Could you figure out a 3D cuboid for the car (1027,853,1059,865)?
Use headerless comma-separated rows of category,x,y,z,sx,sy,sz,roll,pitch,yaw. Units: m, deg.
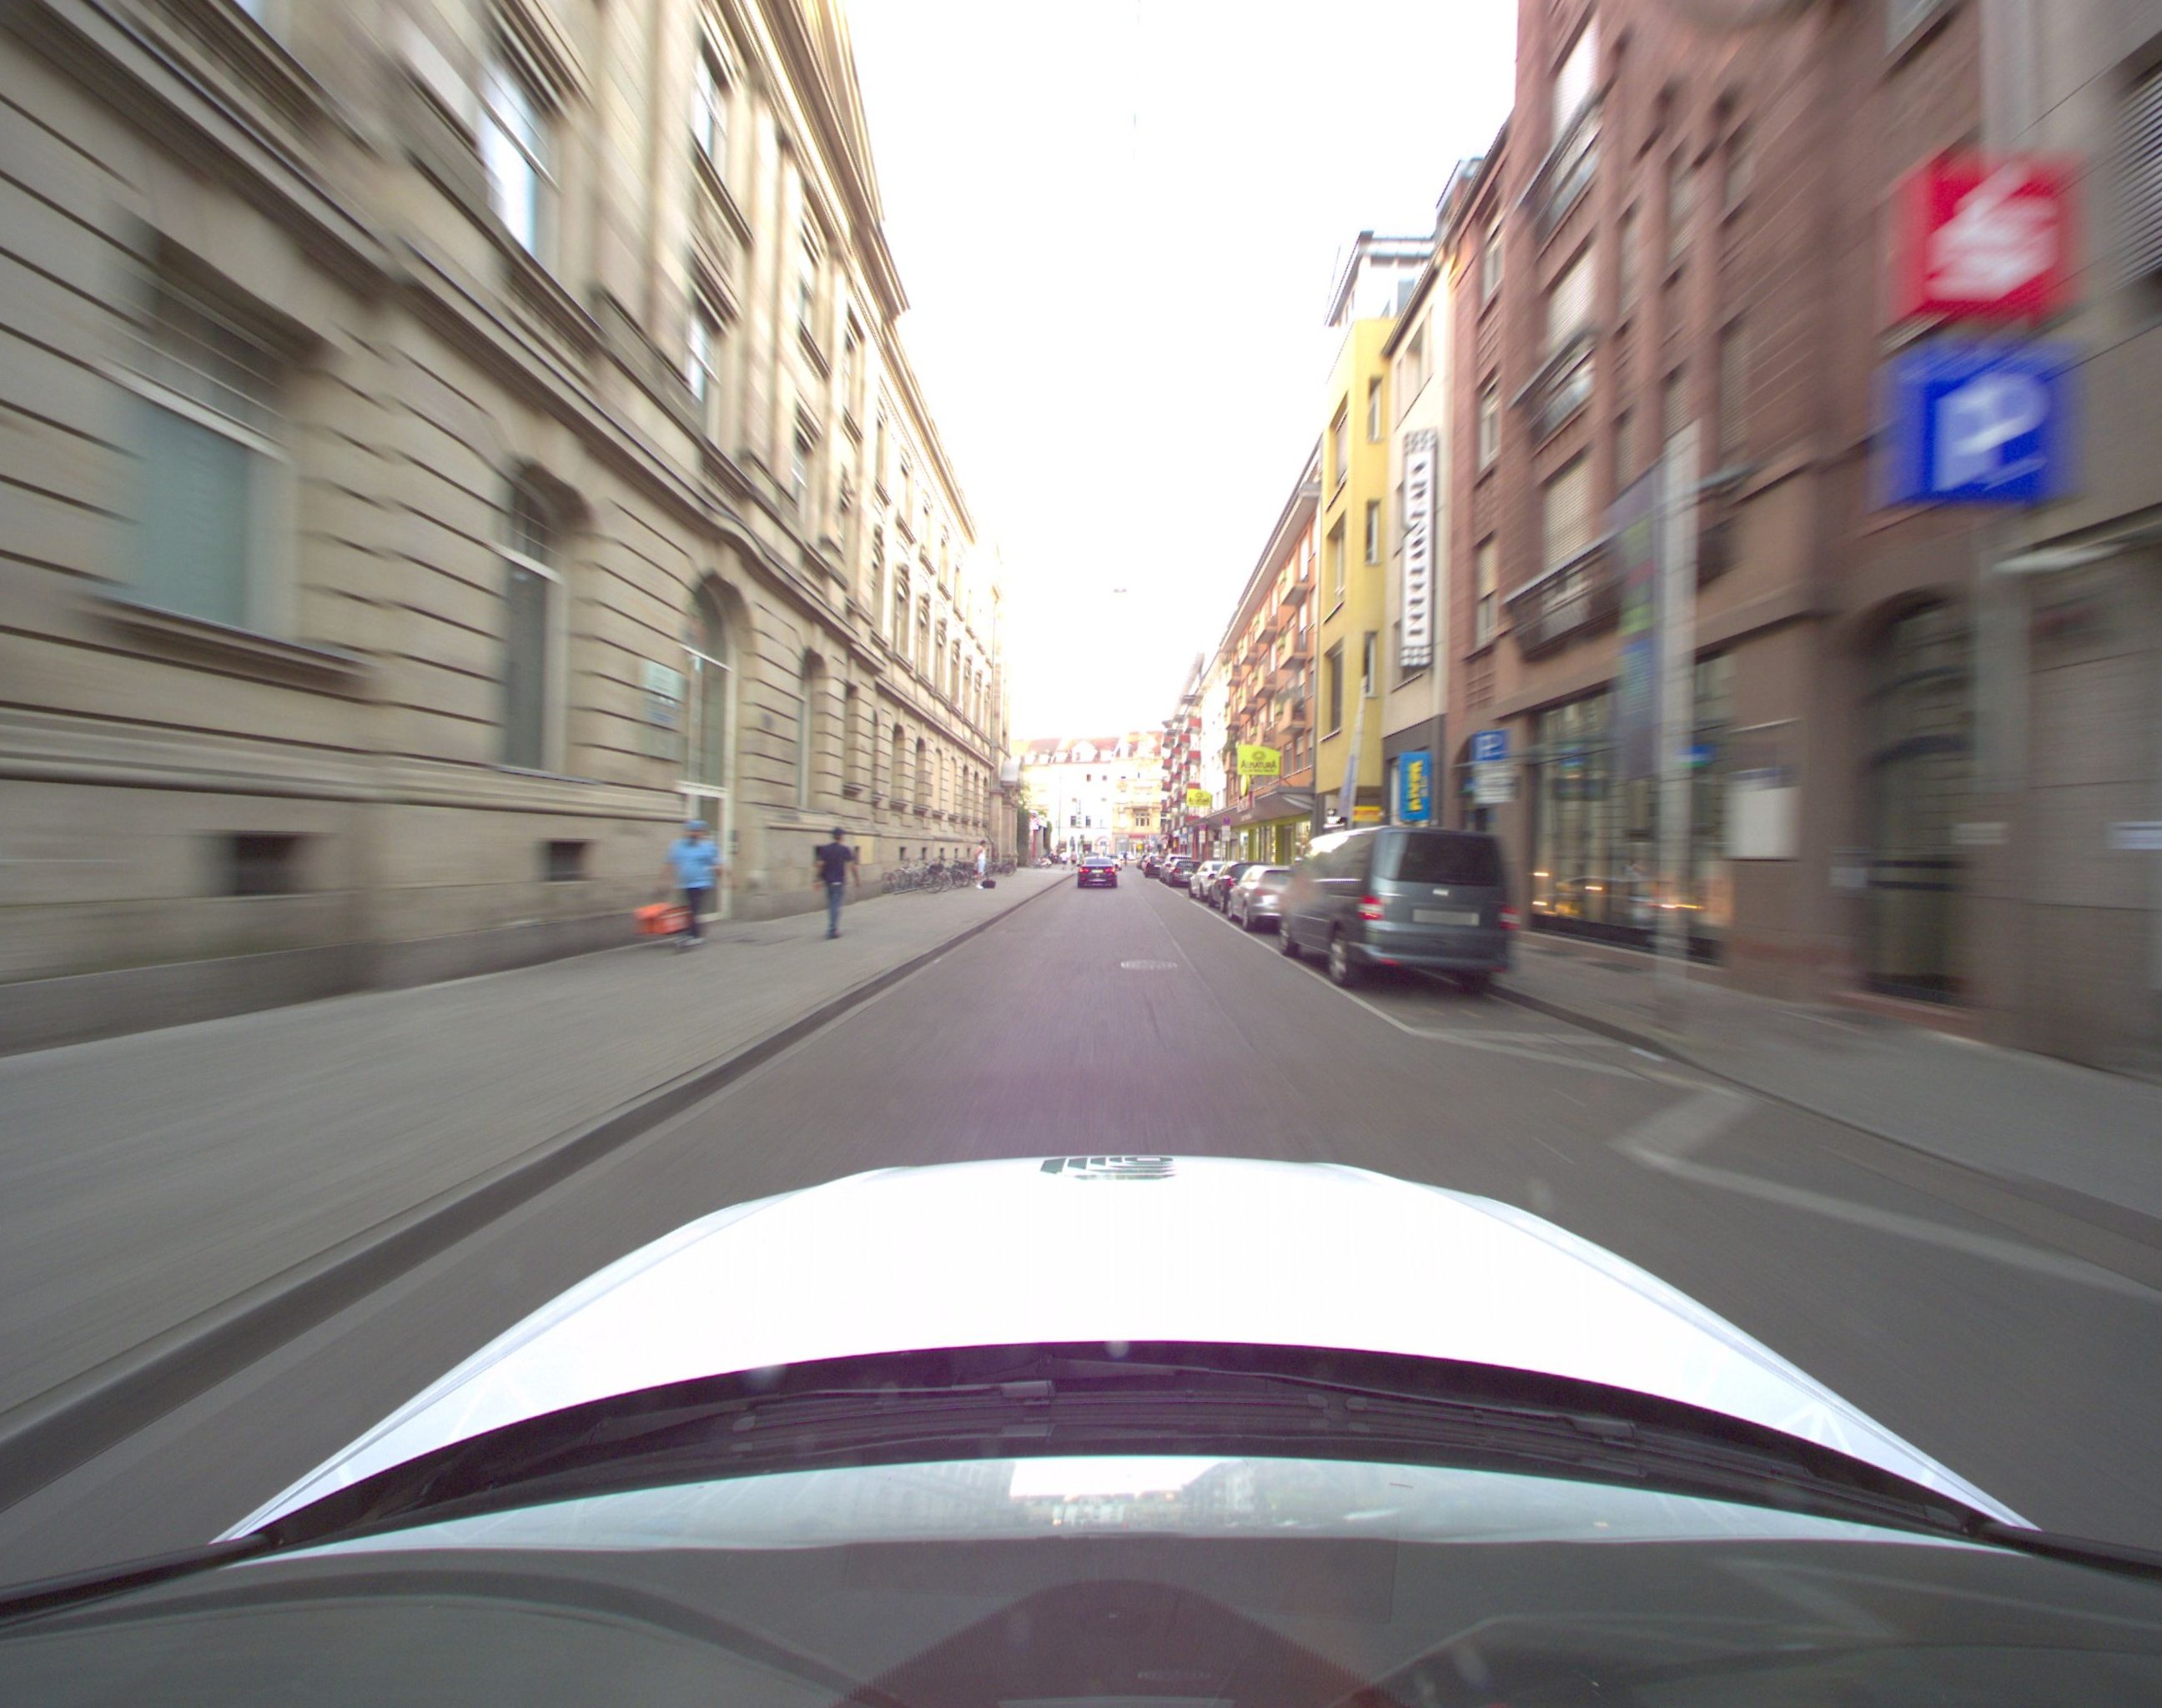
car,-4.871,0.589,104.044,3.982,1.501,1.887,0,0,-6

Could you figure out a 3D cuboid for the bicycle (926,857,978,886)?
bicycle,-5.064,0.703,32.117,1.933,1.061,0.619,2,-1,-4

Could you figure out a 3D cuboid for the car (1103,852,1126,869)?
car,3.099,0.594,74.465,1.868,1.473,4.007,0,0,6

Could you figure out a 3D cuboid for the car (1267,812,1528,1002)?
car,4.108,0.608,11.622,1.840,2.058,5.056,2,0,2

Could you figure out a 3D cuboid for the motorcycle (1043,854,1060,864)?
motorcycle,-3.337,0.597,91.754,1.783,1.064,0.769,2,0,27

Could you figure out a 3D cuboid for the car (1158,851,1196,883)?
car,5.468,0.706,46.811,1.745,1.668,4.760,3,1,3

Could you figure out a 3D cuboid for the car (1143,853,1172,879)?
car,5.319,0.778,56.070,1.785,1.609,4.495,3,1,7

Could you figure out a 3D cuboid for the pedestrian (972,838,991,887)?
pedestrian,-3.814,0.328,31.333,0.586,1.851,0.753,3,0,-4

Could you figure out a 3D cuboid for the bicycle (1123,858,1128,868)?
bicycle,5.323,1.076,96.704,0.534,1.107,1.801,1,0,3

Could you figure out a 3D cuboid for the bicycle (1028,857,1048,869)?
bicycle,-3.954,0.842,74.796,1.788,1.107,0.500,1,0,0

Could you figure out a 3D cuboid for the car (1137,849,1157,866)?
car,6.888,0.335,85.542,1.758,1.642,4.793,3,1,2

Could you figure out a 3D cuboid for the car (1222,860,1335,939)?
car,4.380,0.932,18.709,1.679,1.453,4.502,3,1,3

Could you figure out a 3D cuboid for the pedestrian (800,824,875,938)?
pedestrian,-3.921,0.429,13.182,0.806,1.750,0.970,2,-1,2

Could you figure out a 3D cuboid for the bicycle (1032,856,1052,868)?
bicycle,-3.685,0.741,76.967,1.786,1.107,0.501,2,0,5

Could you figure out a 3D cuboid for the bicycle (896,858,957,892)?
bicycle,-5.271,0.719,27.885,1.933,1.061,0.619,2,-1,-4

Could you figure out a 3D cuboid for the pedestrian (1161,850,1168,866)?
pedestrian,9.053,0.426,87.968,0.645,1.661,0.656,-2,0,4

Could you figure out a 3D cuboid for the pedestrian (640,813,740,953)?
pedestrian,-5.140,0.368,10.752,0.825,1.746,0.769,3,0,2

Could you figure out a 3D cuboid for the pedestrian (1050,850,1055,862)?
pedestrian,-3.750,0.263,107.597,0.498,1.643,0.521,0,0,4

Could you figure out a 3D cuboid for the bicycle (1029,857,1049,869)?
bicycle,-3.839,0.838,74.447,1.787,1.107,0.500,1,0,2

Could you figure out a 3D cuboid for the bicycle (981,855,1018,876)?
bicycle,-4.601,0.650,46.023,1.939,1.061,0.617,4,-1,-13

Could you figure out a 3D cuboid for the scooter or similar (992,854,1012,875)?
scooter or similar,-4.850,0.647,49.821,1.133,1.232,0.495,2,0,-10

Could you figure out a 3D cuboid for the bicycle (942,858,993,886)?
bicycle,-4.595,0.737,33.147,1.931,1.061,0.619,2,-1,0

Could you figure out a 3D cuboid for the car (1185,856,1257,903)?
car,4.880,0.844,28.990,1.686,1.411,4.638,3,1,-1

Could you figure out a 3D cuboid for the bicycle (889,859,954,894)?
bicycle,-5.201,0.729,26.633,1.930,1.061,0.620,2,-1,1

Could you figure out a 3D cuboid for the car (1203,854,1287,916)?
car,4.685,0.826,23.819,1.612,1.516,4.174,3,1,1

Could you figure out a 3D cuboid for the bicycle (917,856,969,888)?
bicycle,-5.095,0.669,30.101,1.791,1.107,0.499,2,-1,-4

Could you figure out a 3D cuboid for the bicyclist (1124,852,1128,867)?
bicyclist,5.331,0.642,96.683,0.521,1.756,0.620,1,0,3

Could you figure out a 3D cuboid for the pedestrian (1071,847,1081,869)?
pedestrian,-0.415,0.328,71.899,0.741,1.893,1.051,2,0,3

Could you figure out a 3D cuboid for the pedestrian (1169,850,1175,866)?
pedestrian,9.823,0.429,87.973,0.645,1.661,0.794,-2,0,4

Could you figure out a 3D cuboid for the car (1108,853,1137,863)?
car,6.602,0.637,129.649,4.312,1.562,1.879,0,-1,24

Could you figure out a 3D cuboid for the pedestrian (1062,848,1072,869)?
pedestrian,-1.251,0.424,71.515,0.738,1.812,1.009,3,0,1

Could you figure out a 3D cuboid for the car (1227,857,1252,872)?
car,14.331,0.921,73.819,1.732,1.336,4.005,0,0,4

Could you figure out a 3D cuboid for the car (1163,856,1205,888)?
car,5.236,0.895,41.845,1.684,1.414,4.760,3,1,3

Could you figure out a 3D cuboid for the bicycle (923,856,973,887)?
bicycle,-5.102,0.683,31.302,1.791,1.107,0.499,2,-1,-4

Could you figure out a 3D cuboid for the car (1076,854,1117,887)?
car,0.783,0.709,38.164,1.758,1.375,4.794,2,0,3

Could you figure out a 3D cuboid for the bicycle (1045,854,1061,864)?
bicycle,-3.161,0.563,93.184,1.788,1.107,0.500,2,0,1
